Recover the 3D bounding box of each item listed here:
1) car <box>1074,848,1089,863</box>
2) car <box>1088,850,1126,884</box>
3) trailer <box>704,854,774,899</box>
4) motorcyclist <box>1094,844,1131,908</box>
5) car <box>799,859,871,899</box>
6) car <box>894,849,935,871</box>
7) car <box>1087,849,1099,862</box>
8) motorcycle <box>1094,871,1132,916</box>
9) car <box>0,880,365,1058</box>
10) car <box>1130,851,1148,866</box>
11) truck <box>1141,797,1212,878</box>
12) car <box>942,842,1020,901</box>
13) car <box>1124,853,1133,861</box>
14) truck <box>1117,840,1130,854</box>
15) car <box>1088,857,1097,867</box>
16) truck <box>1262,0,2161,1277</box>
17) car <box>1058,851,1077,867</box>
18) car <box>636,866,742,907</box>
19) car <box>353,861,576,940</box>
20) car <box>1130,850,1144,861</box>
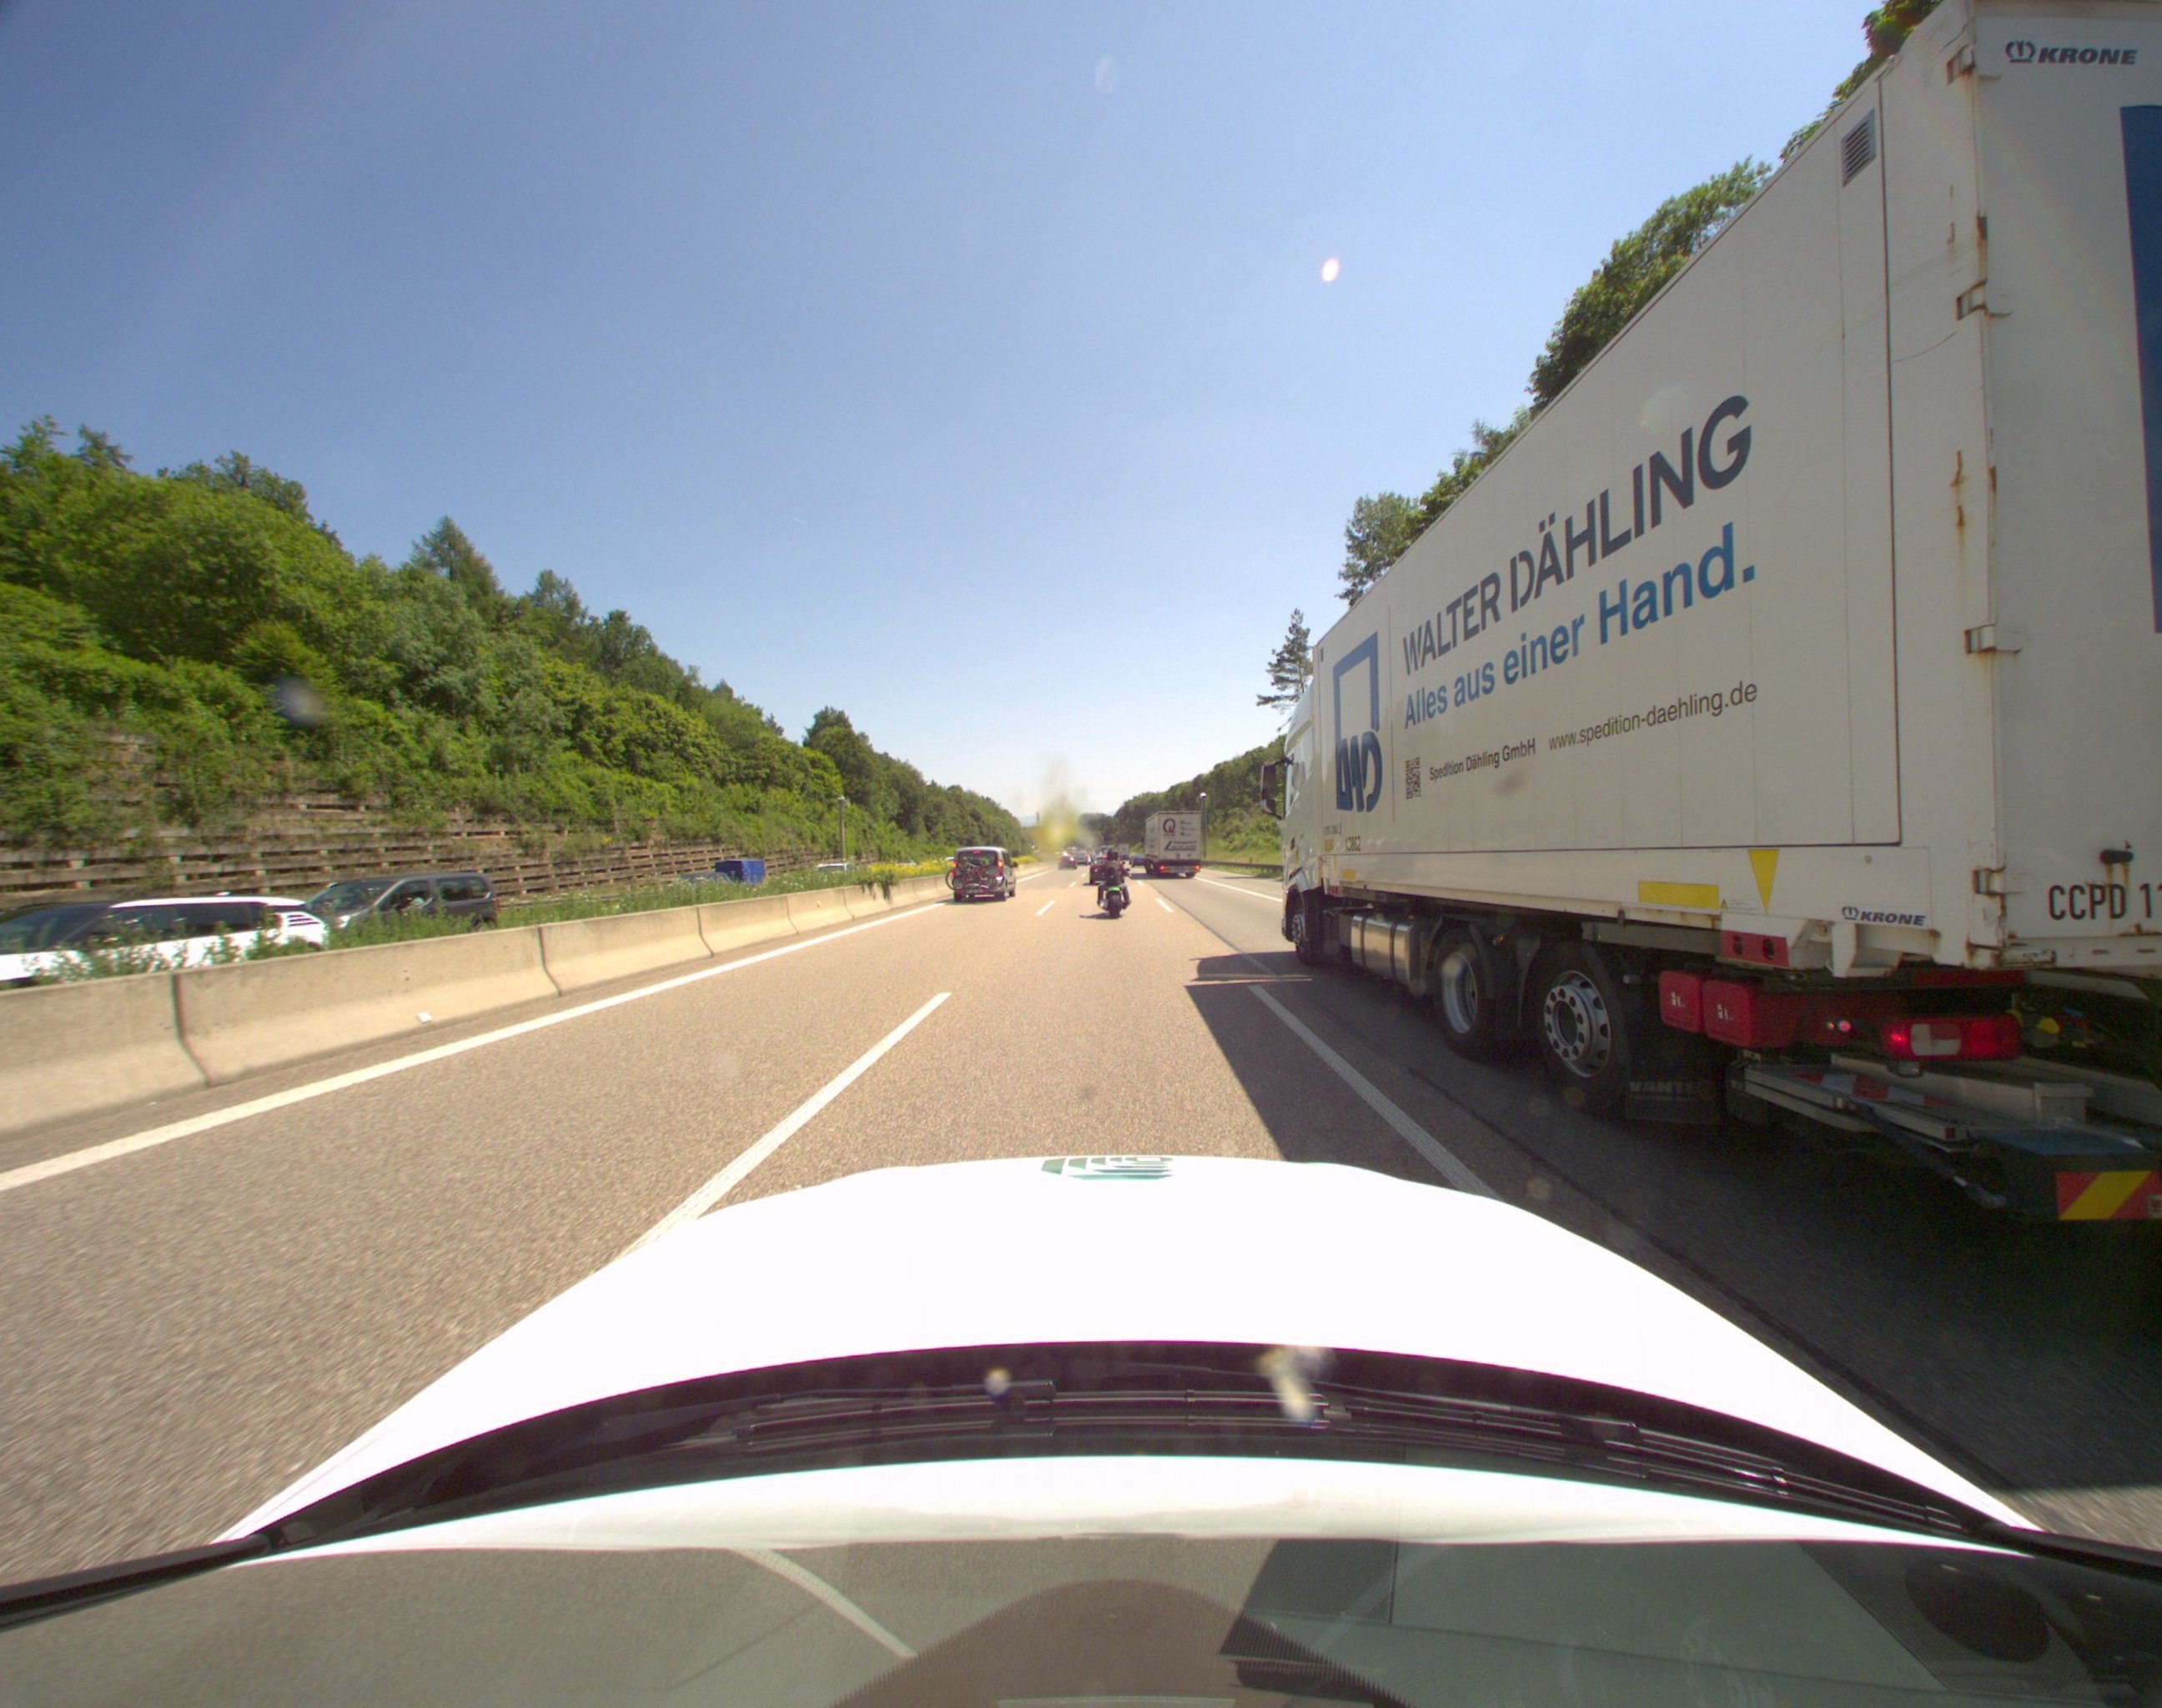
[{"bbox_3d":[0.040,0.171,107.900,1.824,1.810,4.122,0,1,1],"label":"car"},{"bbox_3d":[1.349,0.601,41.856,1.839,1.557,4.441,0,1,1],"label":"car"},{"bbox_3d":[-17.512,1.121,41.828,1.888,2.116,3.498,-2,0,3],"label":"trailer"},{"bbox_3d":[0.777,0.514,19.849,0.852,1.515,0.914,-1,0,2],"label":"motorcyclist"},{"bbox_3d":[-10.624,1.029,35.418,1.782,1.522,4.203,-2,0,0],"label":"car"},{"bbox_3d":[-12.497,0.456,61.306,1.929,1.522,4.206,-2,0,3],"label":"car"},{"bbox_3d":[1.832,0.229,125.125,1.824,1.810,4.122,0,1,1],"label":"car"},{"bbox_3d":[0.794,0.939,19.976,0.859,0.982,2.132,-1,0,3],"label":"motorcycle"},{"bbox_3d":[-10.989,1.174,9.177,1.929,1.522,4.206,-2,0,3],"label":"car"},{"bbox_3d":[6.476,0.523,91.353,1.824,1.558,4.122,0,1,1],"label":"car"},{"bbox_3d":[6.259,-1.138,56.621,3.370,4.717,17.717,0,1,2],"label":"truck"},{"bbox_3d":[-3.366,0.535,28.529,1.891,1.847,5.485,0,0,1],"label":"car"},{"bbox_3d":[10.237,0.560,176.199,1.824,1.558,4.122,0,1,1],"label":"car"},{"bbox_3d":[10.453,-1.778,200.234,3.056,3.346,9.657,0,1,2],"label":"truck"},{"bbox_3d":[2.243,1.470,158.260,1.824,1.810,4.122,0,1,1],"label":"car"},{"bbox_3d":[4.026,-0.891,7.651,2.669,4.059,10.632,-1,1,2],"label":"truck"},{"bbox_3d":[-1.349,0.486,83.768,1.751,1.543,4.397,0,1,1],"label":"car"},{"bbox_3d":[-17.769,1.419,37.307,1.929,1.522,5.480,-2,0,3],"label":"car"},{"bbox_3d":[-14.099,0.977,18.998,1.781,1.522,4.206,-2,0,3],"label":"car"},{"bbox_3d":[8.046,0.219,117.101,1.824,1.558,4.122,0,1,1],"label":"car"}]
